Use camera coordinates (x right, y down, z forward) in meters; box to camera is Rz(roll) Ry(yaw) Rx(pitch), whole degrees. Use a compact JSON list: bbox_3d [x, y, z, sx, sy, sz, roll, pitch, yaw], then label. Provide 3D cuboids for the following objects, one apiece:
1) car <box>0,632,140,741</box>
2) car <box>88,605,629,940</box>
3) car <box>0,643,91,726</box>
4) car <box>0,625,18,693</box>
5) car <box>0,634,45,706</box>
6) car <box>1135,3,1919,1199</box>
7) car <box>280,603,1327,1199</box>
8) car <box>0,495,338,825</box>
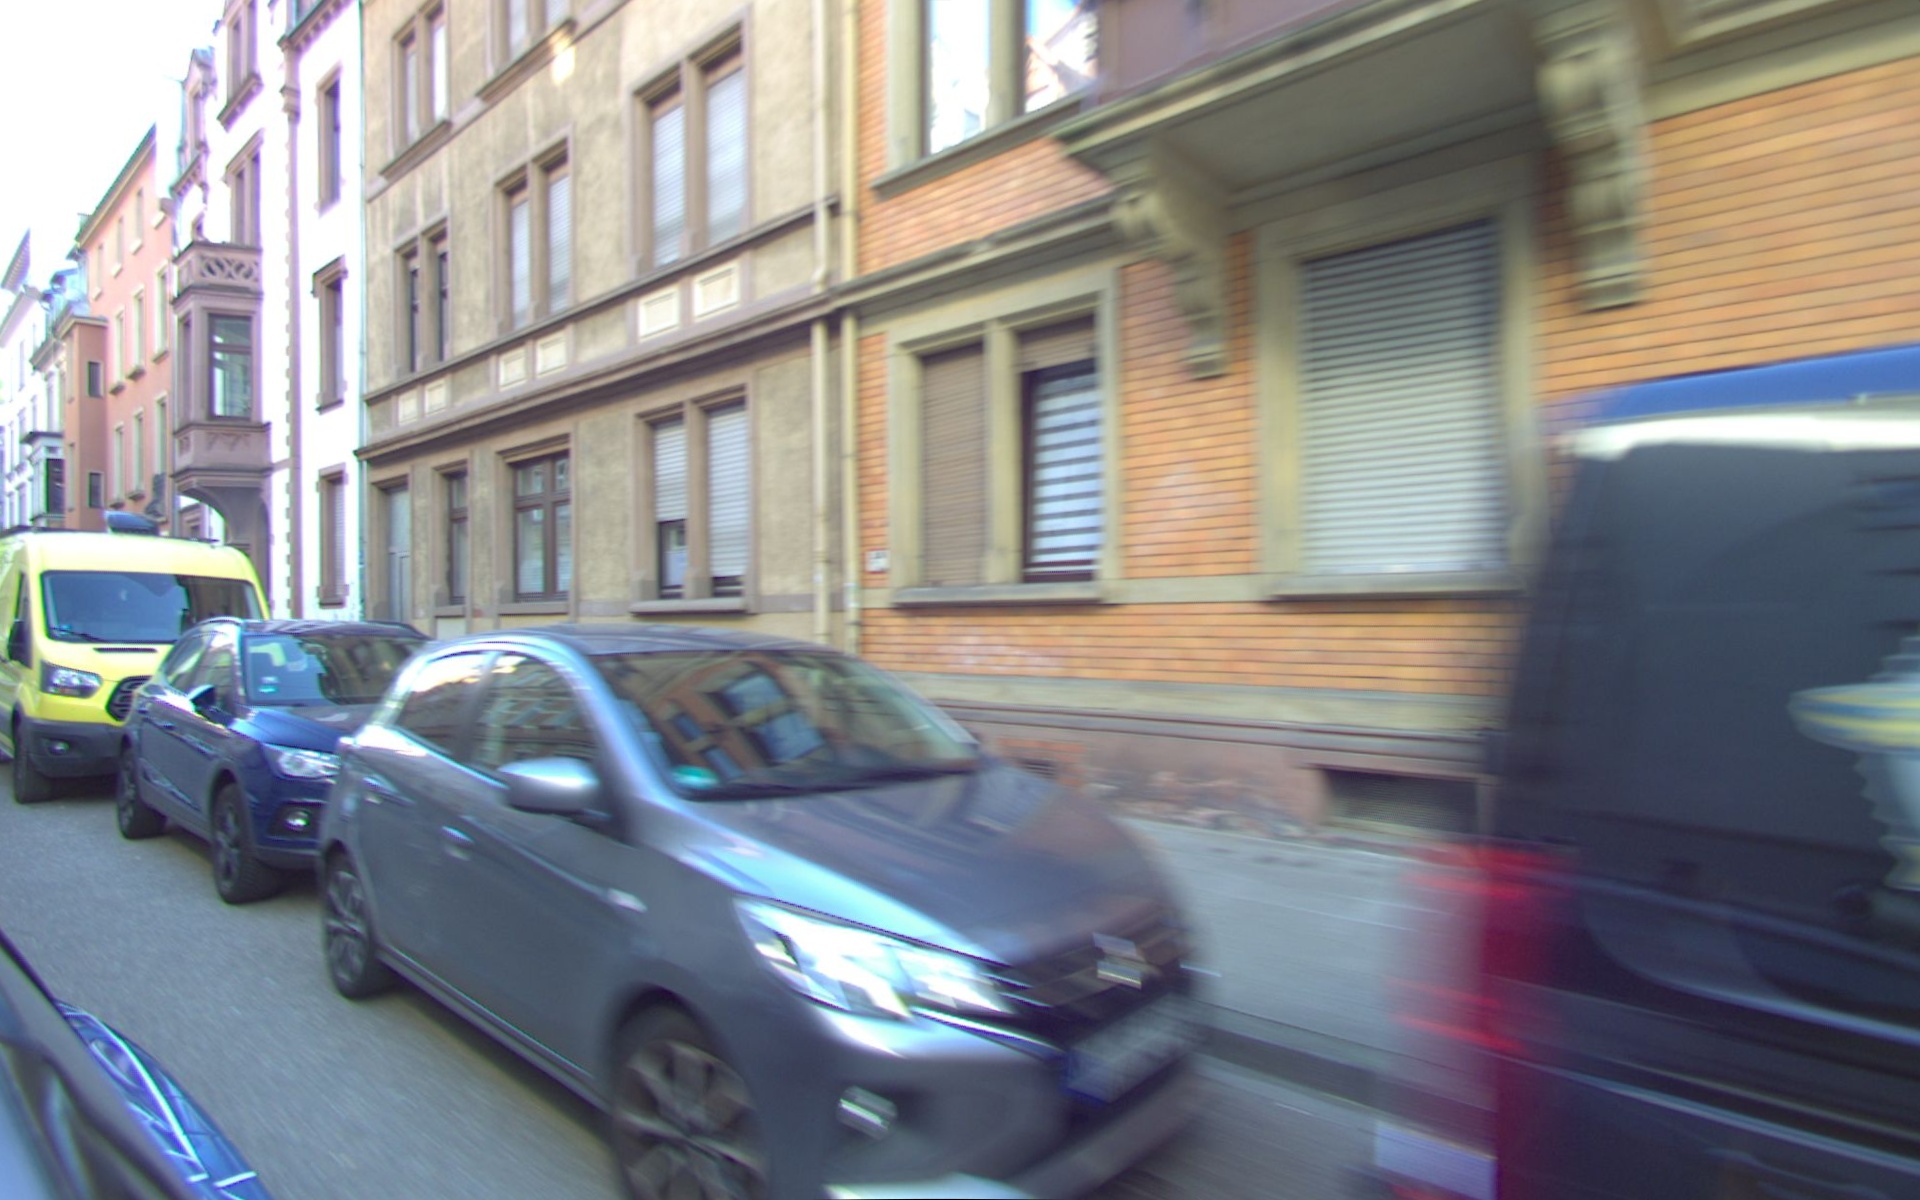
[{"bbox_3d":[-13.628,1.234,15.051,3.899,1.423,1.699,-2,-6,44],"label":"car"},{"bbox_3d":[-4.191,0.871,6.814,3.998,1.564,1.973,-2,-2,41],"label":"car"},{"bbox_3d":[-16.858,1.446,17.960,3.610,1.337,1.601,-2,-4,41],"label":"car"},{"bbox_3d":[-24.942,1.460,25.151,4.066,1.618,1.763,-2,-2,40],"label":"car"},{"bbox_3d":[-21.318,1.476,21.958,3.917,1.486,1.676,-2,-5,41],"label":"car"},{"bbox_3d":[2.436,0.452,0.417,4.330,1.779,1.801,-2,-1,39],"label":"car"},{"bbox_3d":[-0.851,0.784,3.532,3.643,1.460,1.659,-2,-1,41],"label":"car"},{"bbox_3d":[-8.748,0.570,10.520,5.875,2.527,2.152,-2,-4,41],"label":"car"}]
